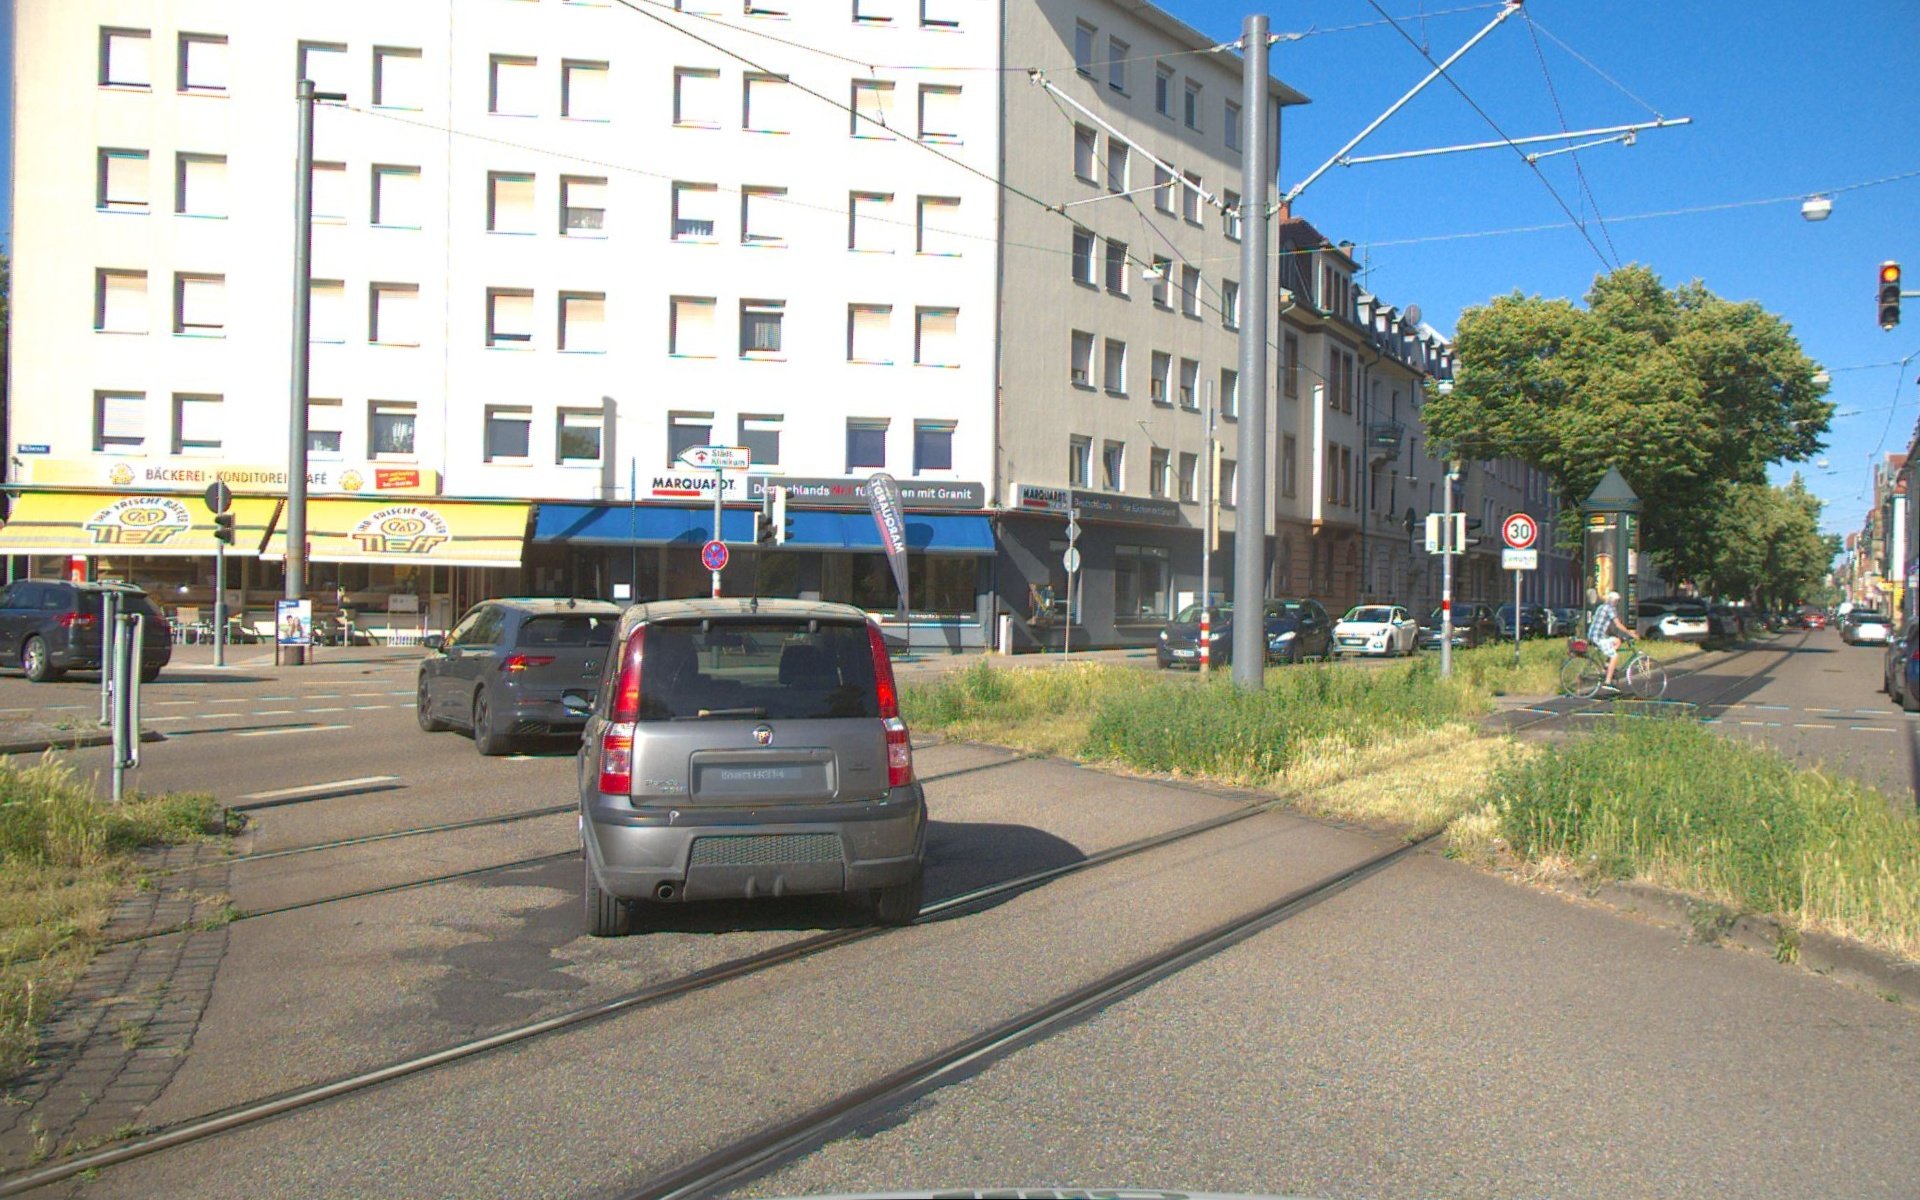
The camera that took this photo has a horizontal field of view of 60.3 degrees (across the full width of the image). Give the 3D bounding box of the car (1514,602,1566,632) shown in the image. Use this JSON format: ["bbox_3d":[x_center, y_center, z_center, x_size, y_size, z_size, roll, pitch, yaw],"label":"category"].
[{"bbox_3d":[29.579,0.849,84.259,1.955,1.420,3.995,1,0,27],"label":"car"}]

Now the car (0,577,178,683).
[{"bbox_3d":[-13.652,0.409,25.673,1.749,1.512,4.232,1,0,-40],"label":"car"}]

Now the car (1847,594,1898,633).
[{"bbox_3d":[41.901,0.656,75.988,1.956,1.646,3.993,1,-1,29],"label":"car"}]

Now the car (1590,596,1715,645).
[{"bbox_3d":[24.125,0.696,57.721,1.875,1.621,3.979,1,0,-19],"label":"car"}]

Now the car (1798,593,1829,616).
[{"bbox_3d":[70.804,0.374,137.177,1.958,1.831,3.989,1,0,33],"label":"car"}]

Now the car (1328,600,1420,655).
[{"bbox_3d":[12.078,0.771,48.158,1.756,1.509,3.526,1,0,29],"label":"car"}]

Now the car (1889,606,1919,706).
[{"bbox_3d":[15.744,0.865,26.010,1.740,1.468,3.615,2,1,26],"label":"car"}]

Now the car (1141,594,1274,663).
[{"bbox_3d":[5.554,0.603,36.765,1.756,1.420,3.719,1,0,29],"label":"car"}]

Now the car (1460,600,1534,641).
[{"bbox_3d":[21.059,0.778,64.811,1.956,1.513,3.992,1,0,30],"label":"car"}]

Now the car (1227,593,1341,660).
[{"bbox_3d":[8.263,0.637,41.957,1.756,1.593,3.760,1,0,29],"label":"car"}]

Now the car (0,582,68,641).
[{"bbox_3d":[-26.292,0.278,45.216,1.898,1.539,3.936,1,0,-4],"label":"car"}]

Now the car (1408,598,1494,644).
[{"bbox_3d":[16.796,0.703,56.493,1.956,1.498,3.992,1,0,30],"label":"car"}]

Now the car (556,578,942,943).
[{"bbox_3d":[-1.177,0.675,8.706,1.630,1.536,3.243,1,0,-10],"label":"car"}]

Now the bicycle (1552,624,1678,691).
[{"bbox_3d":[10.723,0.939,27.114,1.812,1.050,0.589,1,0,3],"label":"bicycle"}]

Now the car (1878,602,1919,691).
[{"bbox_3d":[17.988,0.818,30.406,1.784,1.534,3.995,1,1,27],"label":"car"}]

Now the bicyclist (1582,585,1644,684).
[{"bbox_3d":[10.701,0.558,27.117,0.804,1.586,0.562,1,0,3],"label":"bicyclist"}]

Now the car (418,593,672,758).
[{"bbox_3d":[-4.305,0.676,16.798,1.604,1.454,3.652,1,0,-29],"label":"car"}]

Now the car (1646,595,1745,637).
[{"bbox_3d":[33.380,0.709,75.083,3.750,1.817,1.830,1,0,41],"label":"car"}]
